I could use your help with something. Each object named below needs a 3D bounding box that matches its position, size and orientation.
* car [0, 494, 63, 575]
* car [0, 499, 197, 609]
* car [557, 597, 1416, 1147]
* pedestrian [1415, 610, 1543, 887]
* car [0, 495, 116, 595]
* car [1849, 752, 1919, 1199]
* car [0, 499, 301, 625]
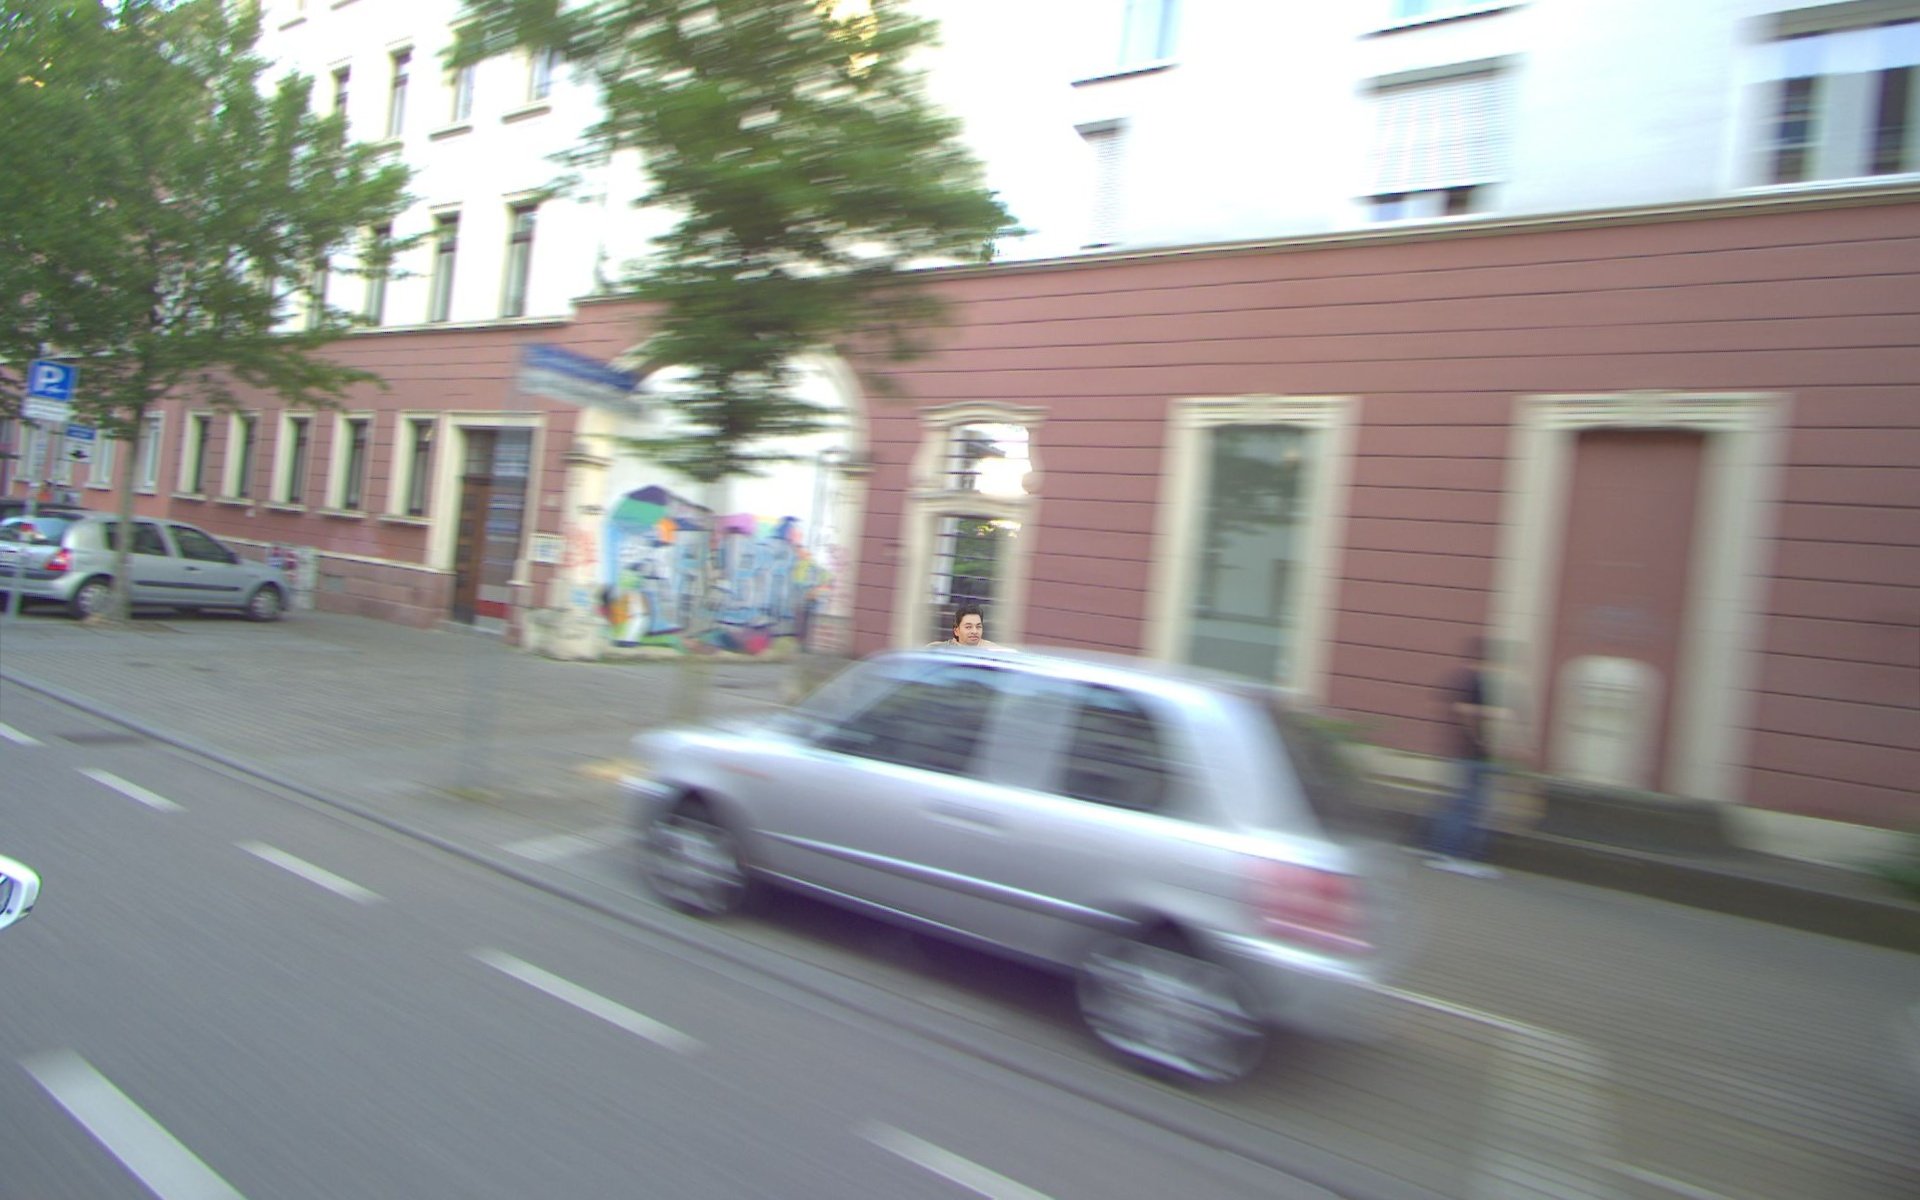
[{"bbox_3d":[-20.130,-1.457,18.954,2.024,1.535,4.460,7,0,8],"label":"car"},{"bbox_3d":[-13.675,-0.692,14.926,1.637,1.446,3.568,7,0,6],"label":"car"},{"bbox_3d":[0.006,0.900,4.834,3.713,1.399,1.620,7,1,31],"label":"car"},{"bbox_3d":[3.774,1.044,7.303,0.590,1.838,0.681,7,0,31],"label":"pedestrian"},{"bbox_3d":[-16.099,-0.976,16.187,1.710,1.535,3.568,7,0,6],"label":"car"},{"bbox_3d":[5.010,1.463,1.925,4.615,1.399,1.781,7,1,33],"label":"car"},{"bbox_3d":[-11.563,-0.466,14.274,1.589,1.446,3.496,5,-1,12],"label":"car"}]
